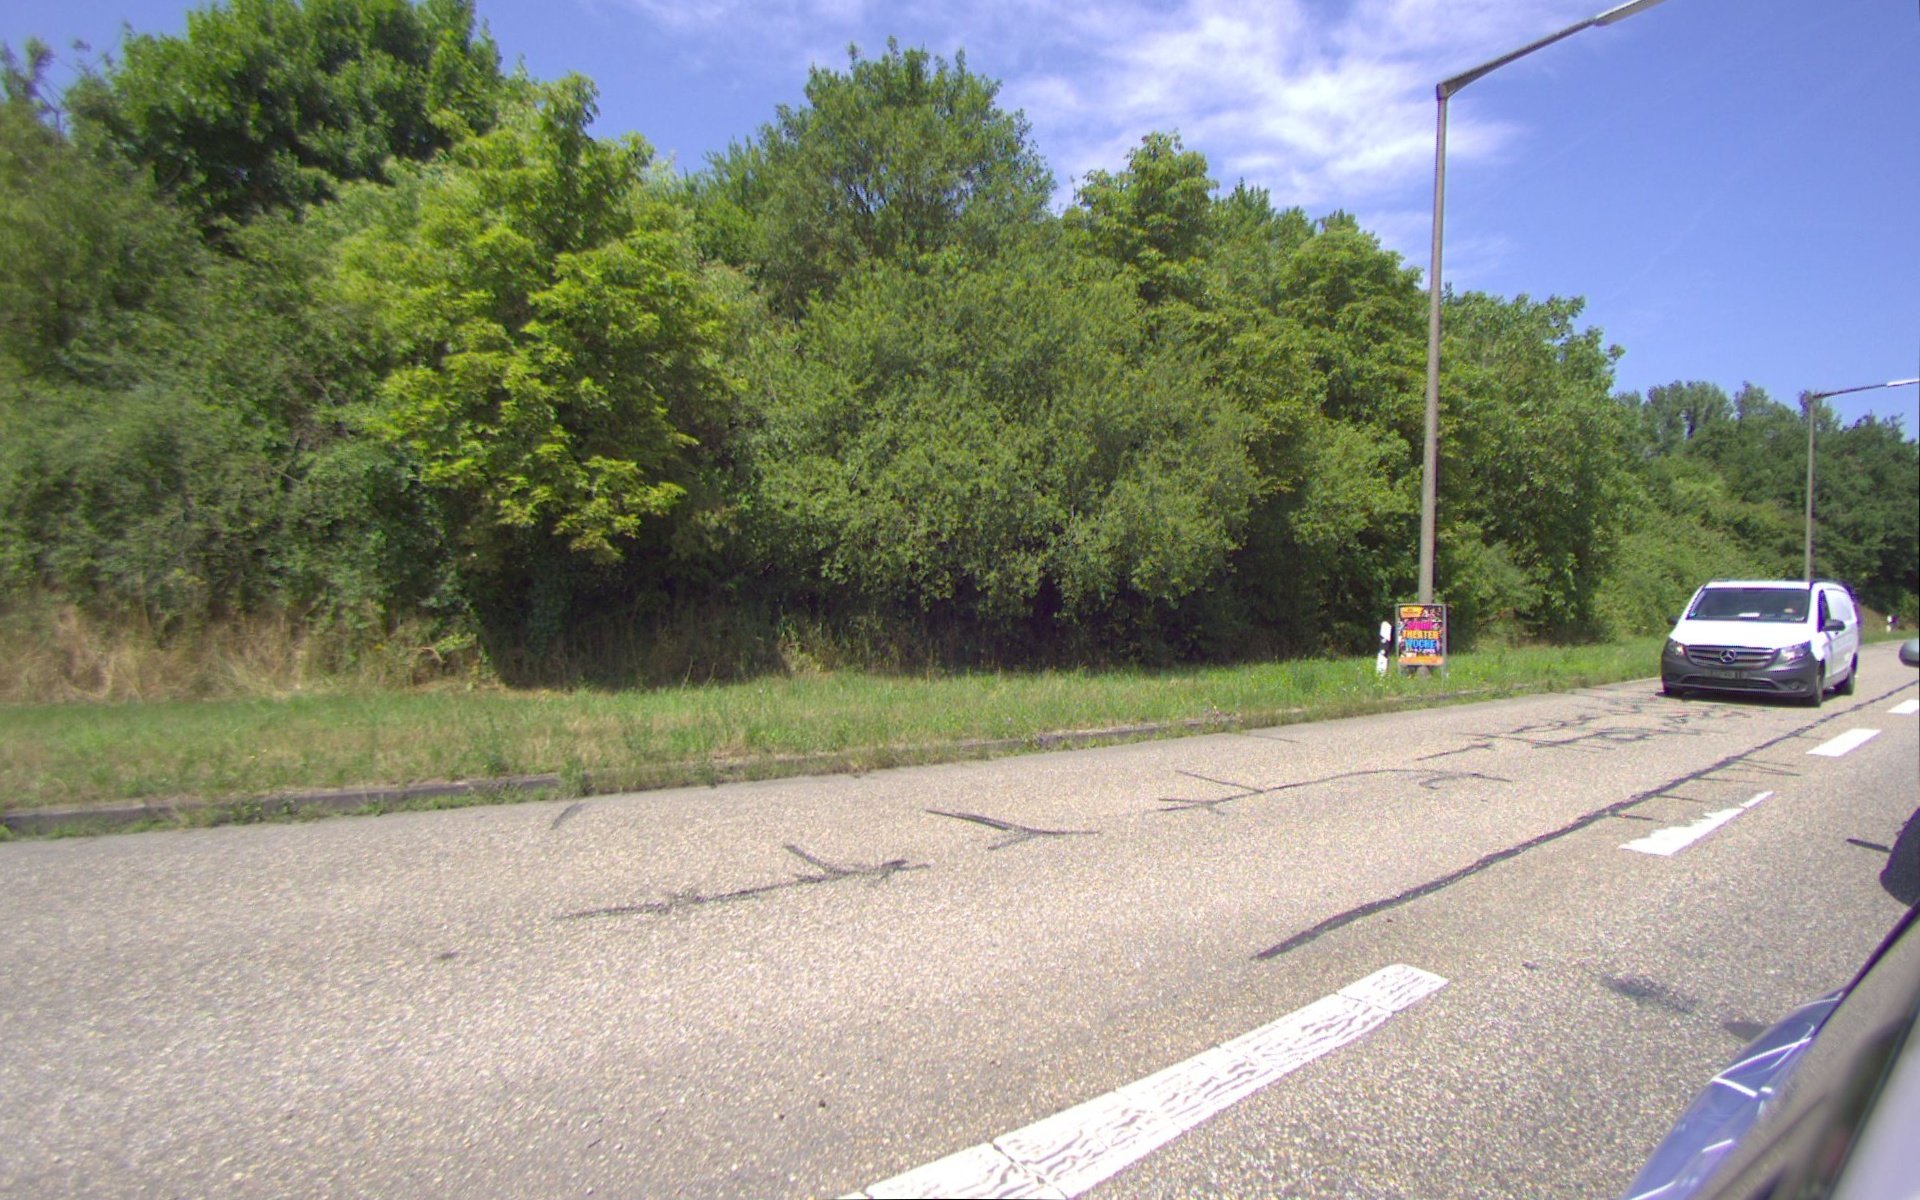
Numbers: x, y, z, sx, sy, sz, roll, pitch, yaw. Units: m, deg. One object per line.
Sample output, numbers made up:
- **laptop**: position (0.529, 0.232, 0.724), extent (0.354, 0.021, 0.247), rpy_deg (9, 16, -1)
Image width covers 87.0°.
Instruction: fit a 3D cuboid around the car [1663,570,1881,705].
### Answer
- **car**: position (13.060, 0.507, 16.161), extent (4.822, 1.841, 1.864), rpy_deg (0, 1, -41)
